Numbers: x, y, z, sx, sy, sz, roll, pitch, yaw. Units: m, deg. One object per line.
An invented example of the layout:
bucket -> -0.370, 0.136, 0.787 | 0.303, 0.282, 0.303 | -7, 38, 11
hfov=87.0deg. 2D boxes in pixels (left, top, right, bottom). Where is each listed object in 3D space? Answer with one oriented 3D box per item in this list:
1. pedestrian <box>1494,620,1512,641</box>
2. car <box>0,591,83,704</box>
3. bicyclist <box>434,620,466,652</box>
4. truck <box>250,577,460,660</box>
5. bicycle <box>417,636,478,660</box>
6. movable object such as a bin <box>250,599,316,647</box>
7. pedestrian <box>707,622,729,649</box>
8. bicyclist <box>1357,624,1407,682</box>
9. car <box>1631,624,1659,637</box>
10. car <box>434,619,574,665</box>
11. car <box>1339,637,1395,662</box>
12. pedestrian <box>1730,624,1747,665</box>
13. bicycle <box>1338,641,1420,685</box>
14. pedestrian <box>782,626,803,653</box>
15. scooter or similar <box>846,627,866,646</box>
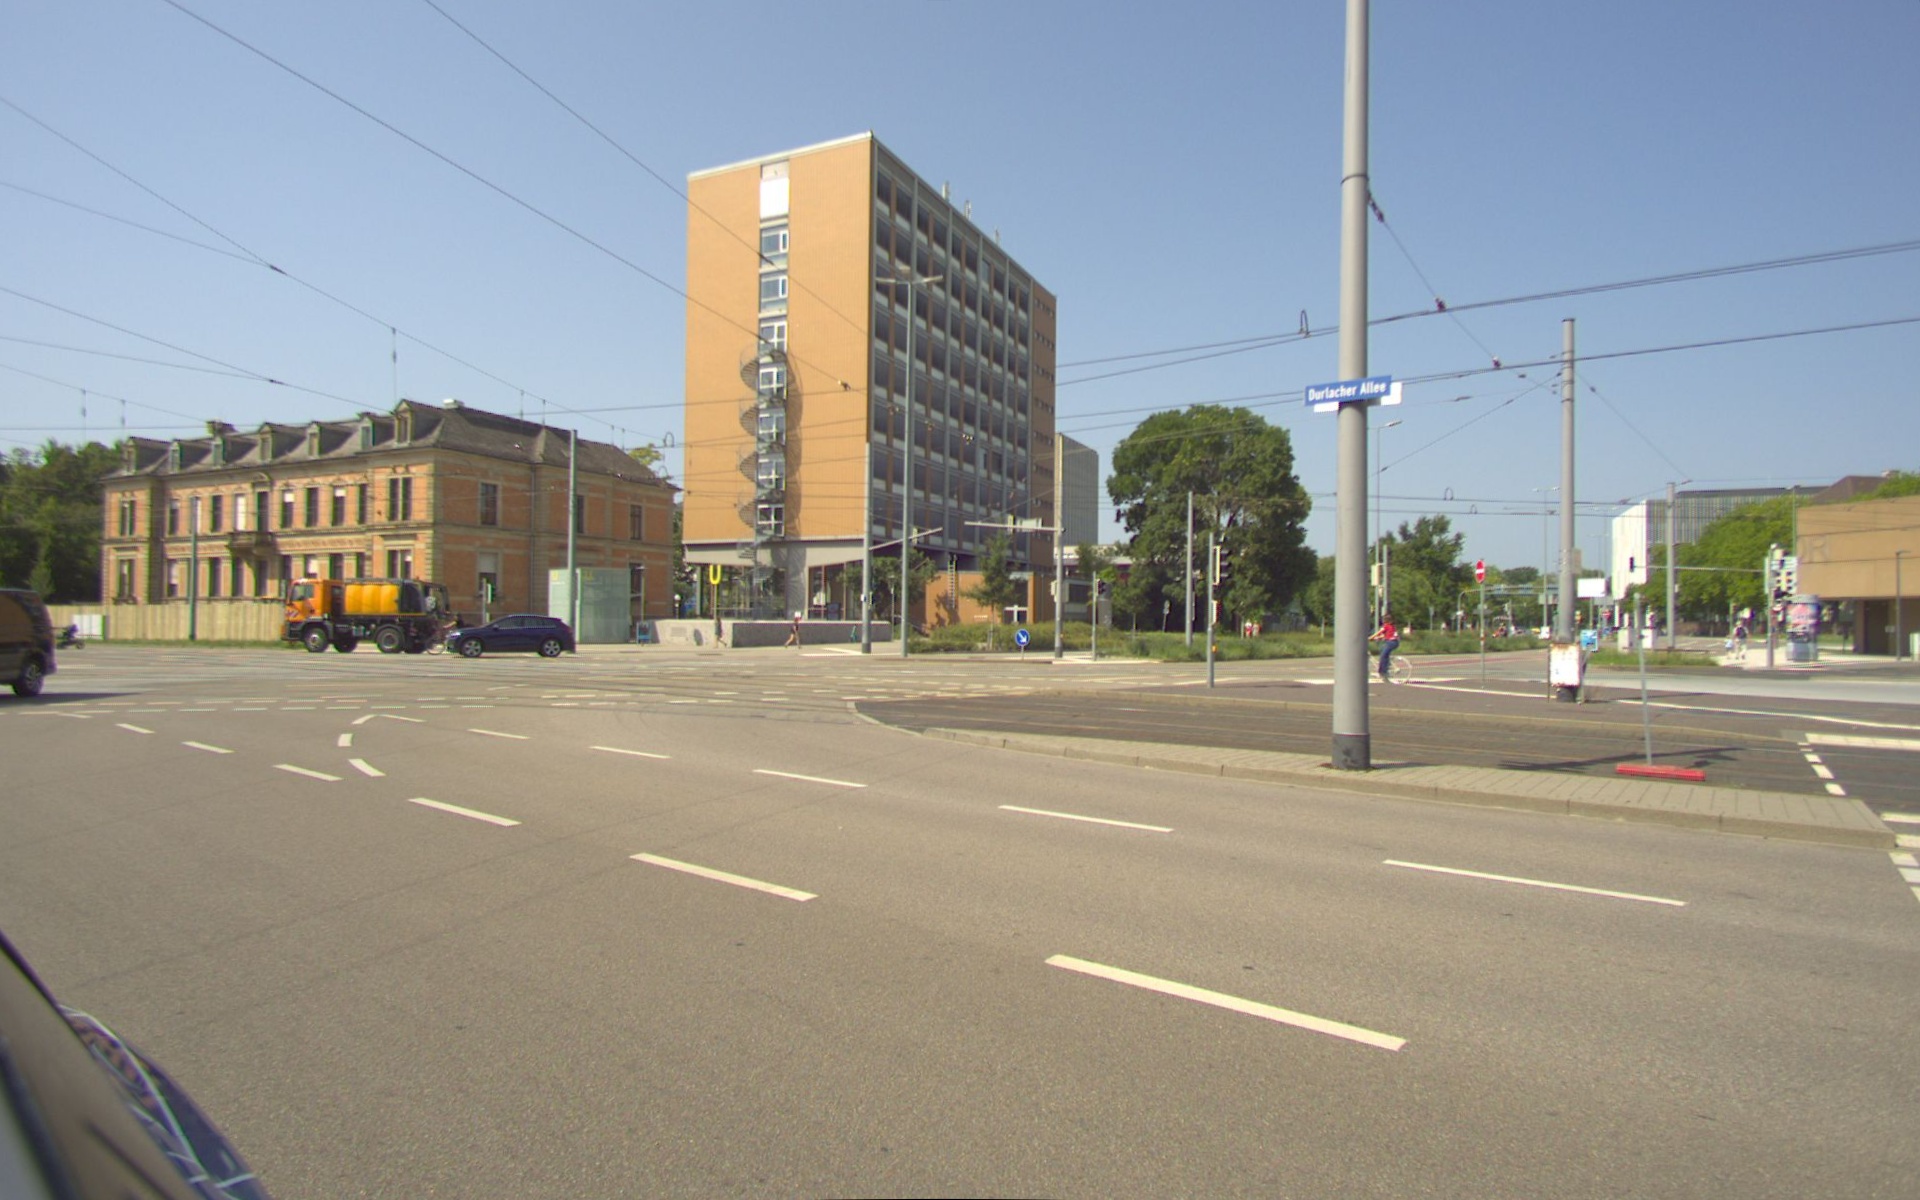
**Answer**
pedestrian -> 46.731, 2.636, 87.092 | 1.098, 1.799, 0.971 | 1, -2, -36
car -> -17.413, 0.810, 16.973 | 1.870, 1.945, 4.896 | 1, -1, -11
bicyclist -> -20.458, 1.434, 40.568 | 1.087, 1.276, 0.860 | 1, -2, -29
truck -> -25.479, 0.815, 42.880 | 7.088, 3.254, 3.043 | -1, -2, -1
bicycle -> -20.452, 1.914, 40.431 | 2.133, 0.906, 0.643 | 1, -2, -29
movable object such as a bin -> -39.195, 1.312, 58.553 | 4.449, 2.692, 1.795 | -1, -2, 38
pedestrian -> -12.840, 1.854, 53.638 | 0.786, 1.405, 0.837 | -1, -2, 40
bicyclist -> 11.072, 1.374, 26.553 | 0.980, 1.470, 0.865 | -1, -2, 42
car -> 87.540, 3.917, 129.287 | 4.585, 1.665, 1.905 | 2, -2, -42
car -> -17.306, 1.572, 38.450 | 4.619, 1.653, 2.006 | 1, -2, -31
car -> 30.980, 3.727, 76.993 | 3.932, 1.807, 2.005 | 1, -3, -32
pedestrian -> 35.810, 2.037, 46.529 | 0.561, 1.830, 0.552 | -1, -2, 43
bicycle -> 11.004, 1.644, 26.608 | 1.913, 1.077, 0.606 | -1, -2, 42
pedestrian -> -9.065, 2.119, 54.757 | 0.786, 1.405, 0.837 | -1, -2, 40
scooter or similar -> -6.309, 2.201, 61.425 | 1.127, 1.166, 0.444 | 1, -2, -37
